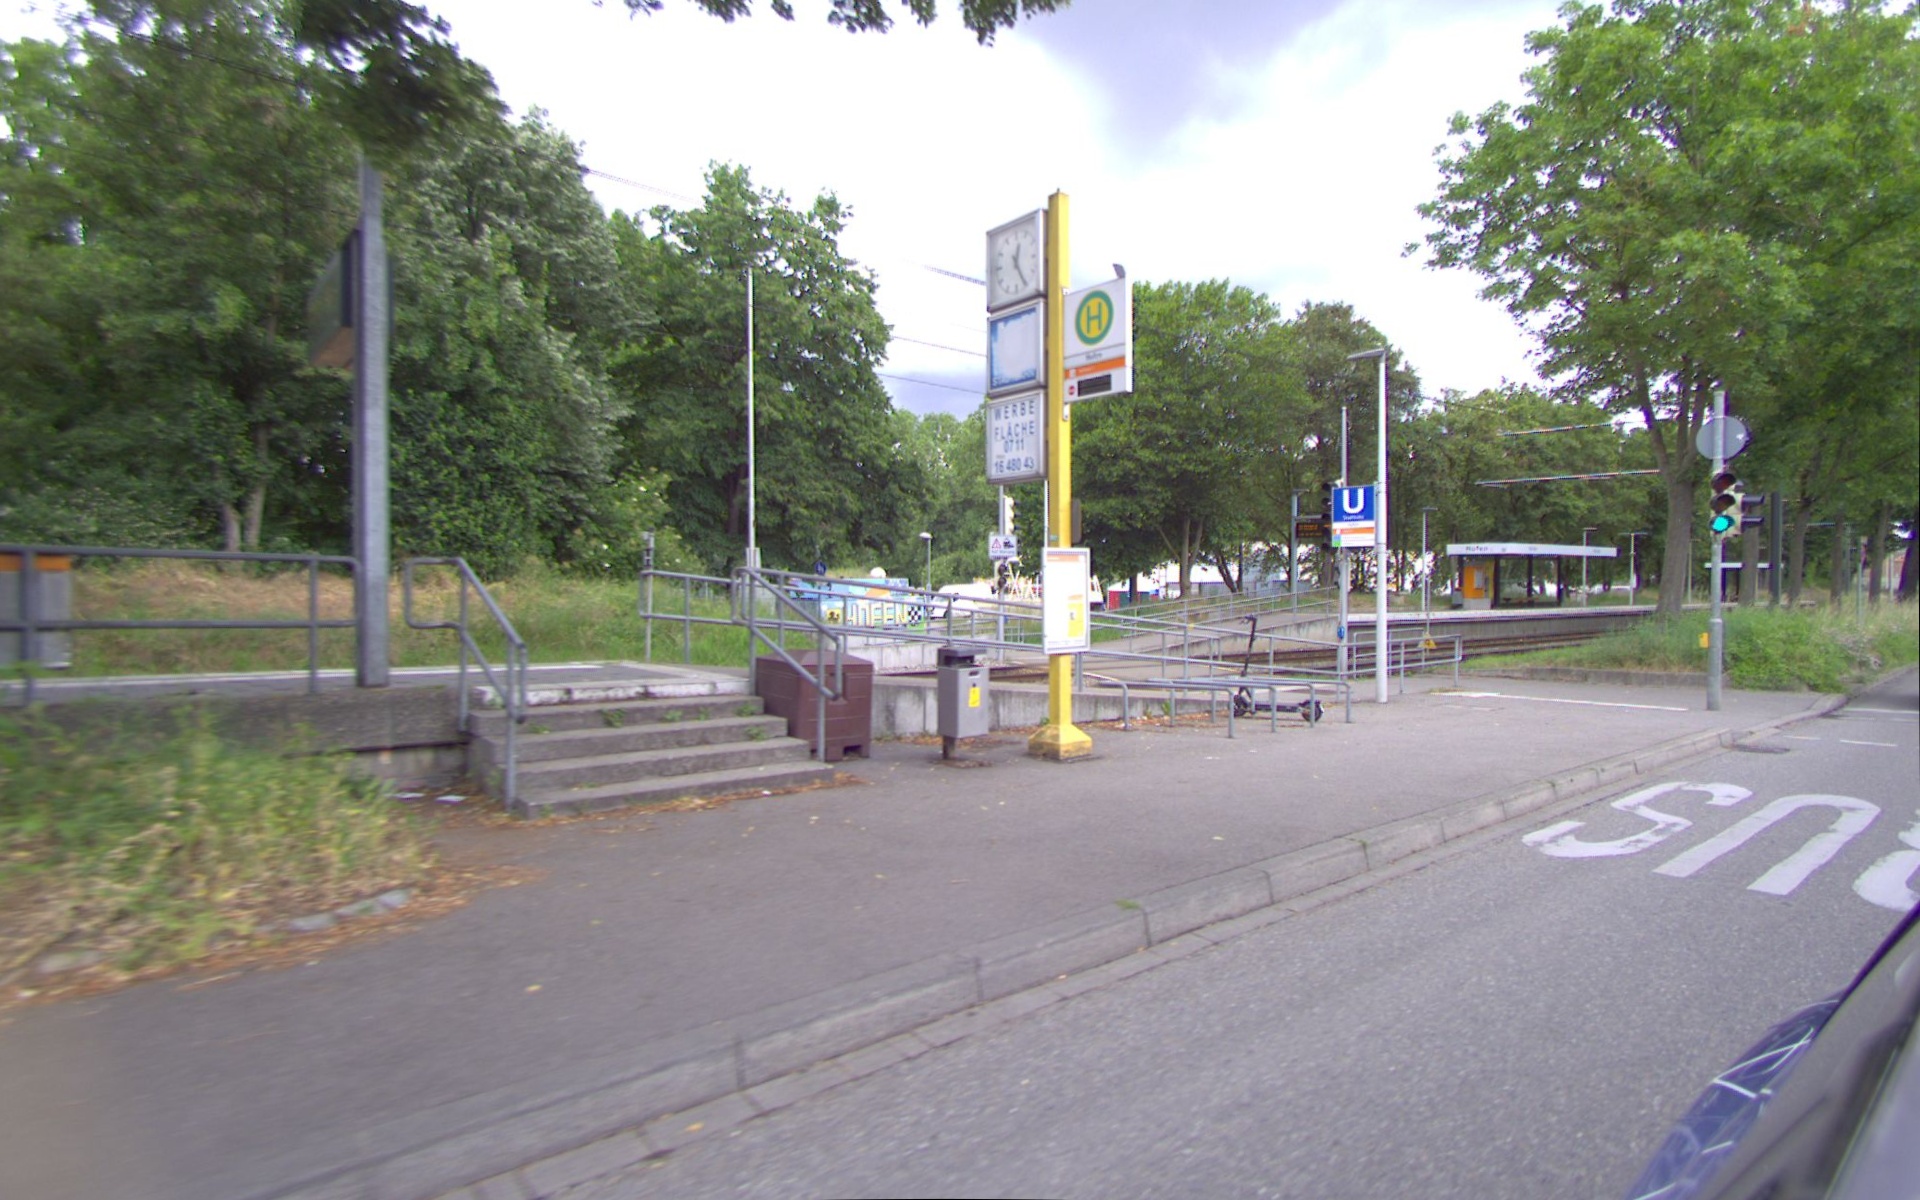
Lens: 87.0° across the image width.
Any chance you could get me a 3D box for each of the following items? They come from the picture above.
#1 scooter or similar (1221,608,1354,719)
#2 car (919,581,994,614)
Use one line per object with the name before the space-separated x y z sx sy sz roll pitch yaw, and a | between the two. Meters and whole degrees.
scooter or similar | 3.900 0.732 12.090 1.445 1.258 0.480 0 -1 29
car | -0.225 -0.215 76.081 5.705 2.413 1.997 0 0 -41
